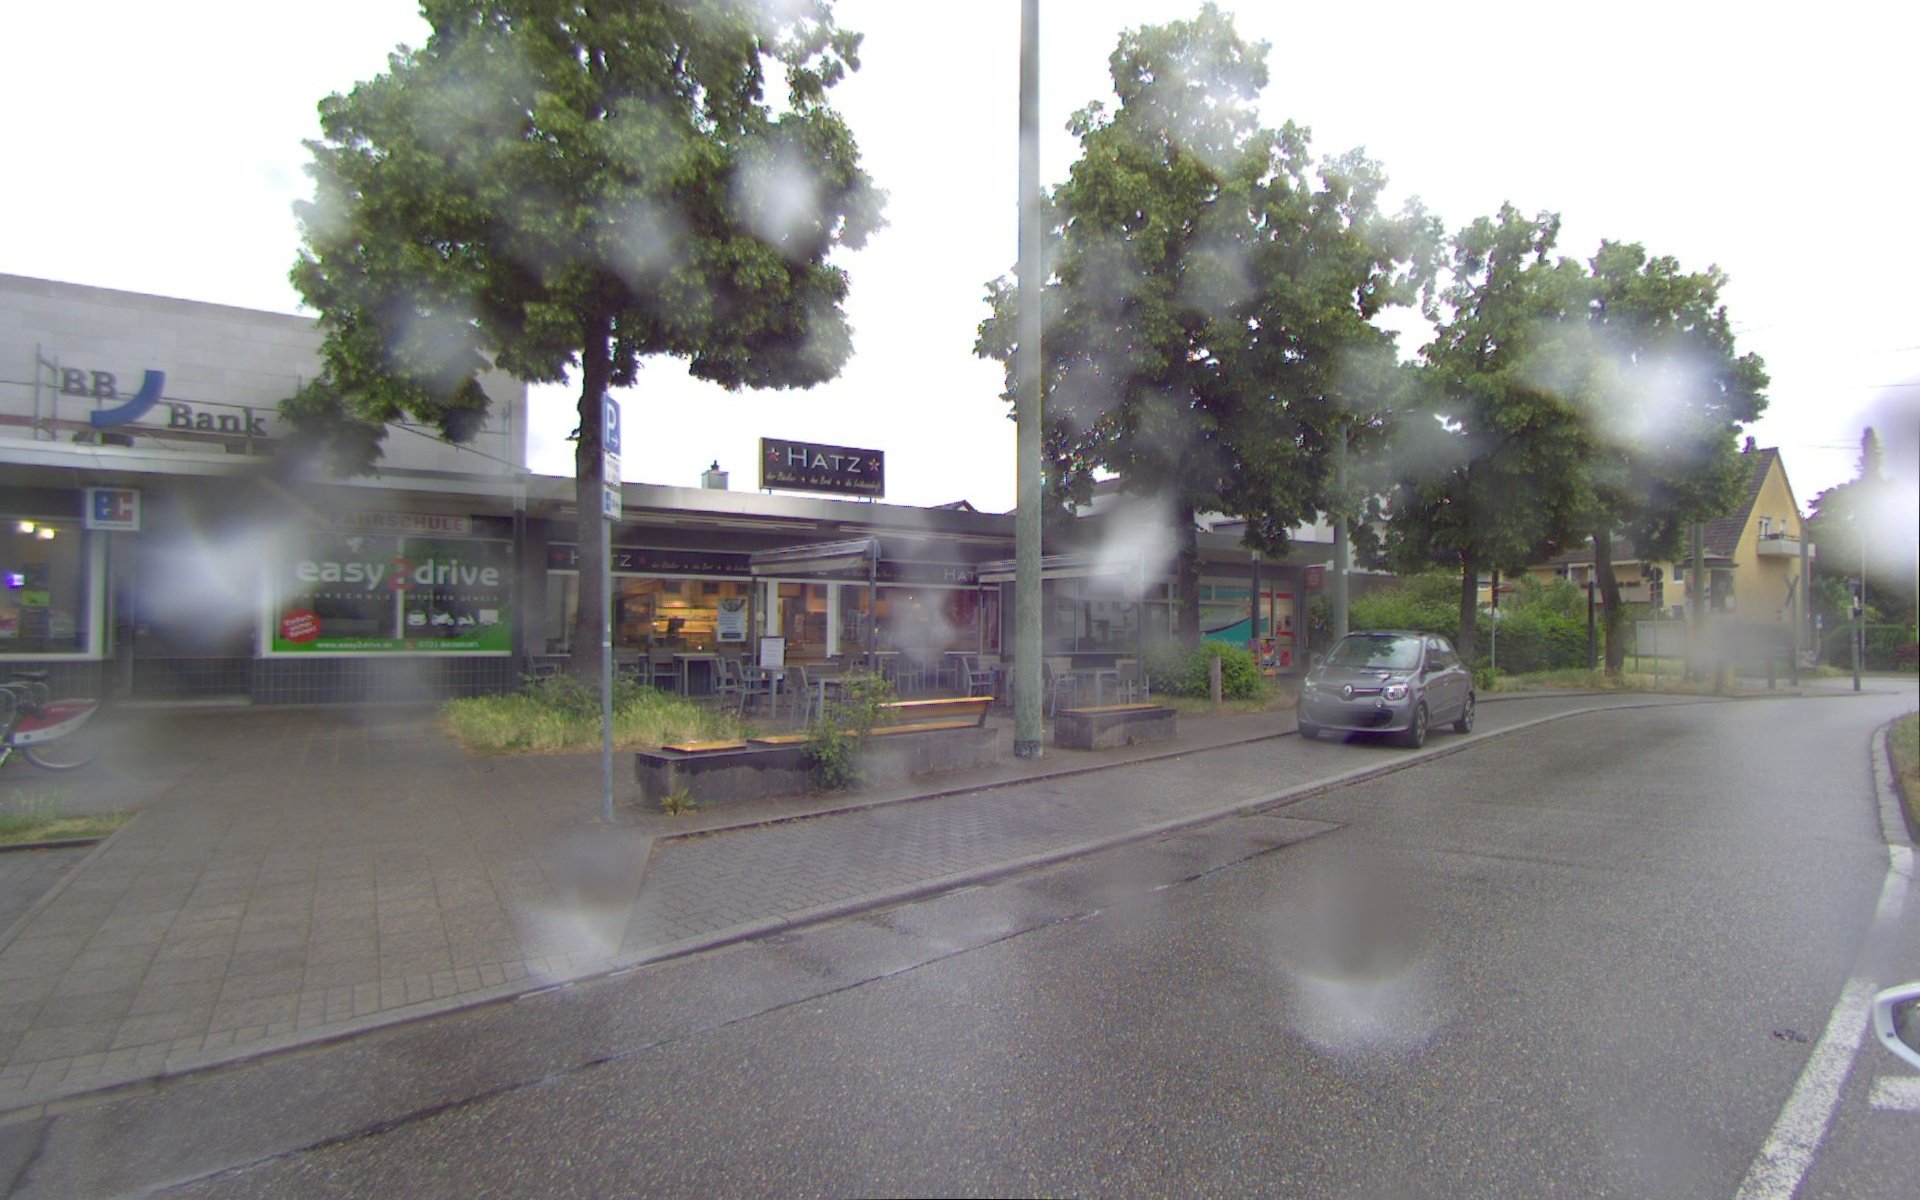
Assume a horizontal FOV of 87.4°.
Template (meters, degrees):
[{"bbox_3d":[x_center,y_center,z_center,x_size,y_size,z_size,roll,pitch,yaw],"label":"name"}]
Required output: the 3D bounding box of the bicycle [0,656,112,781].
[{"bbox_3d":[-8.991,1.094,9.264,0.314,1.122,1.739,2,0,43],"label":"bicycle"}]

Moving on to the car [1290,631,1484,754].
[{"bbox_3d":[6.385,1.256,14.822,1.598,1.516,3.649,2,0,40],"label":"car"}]
